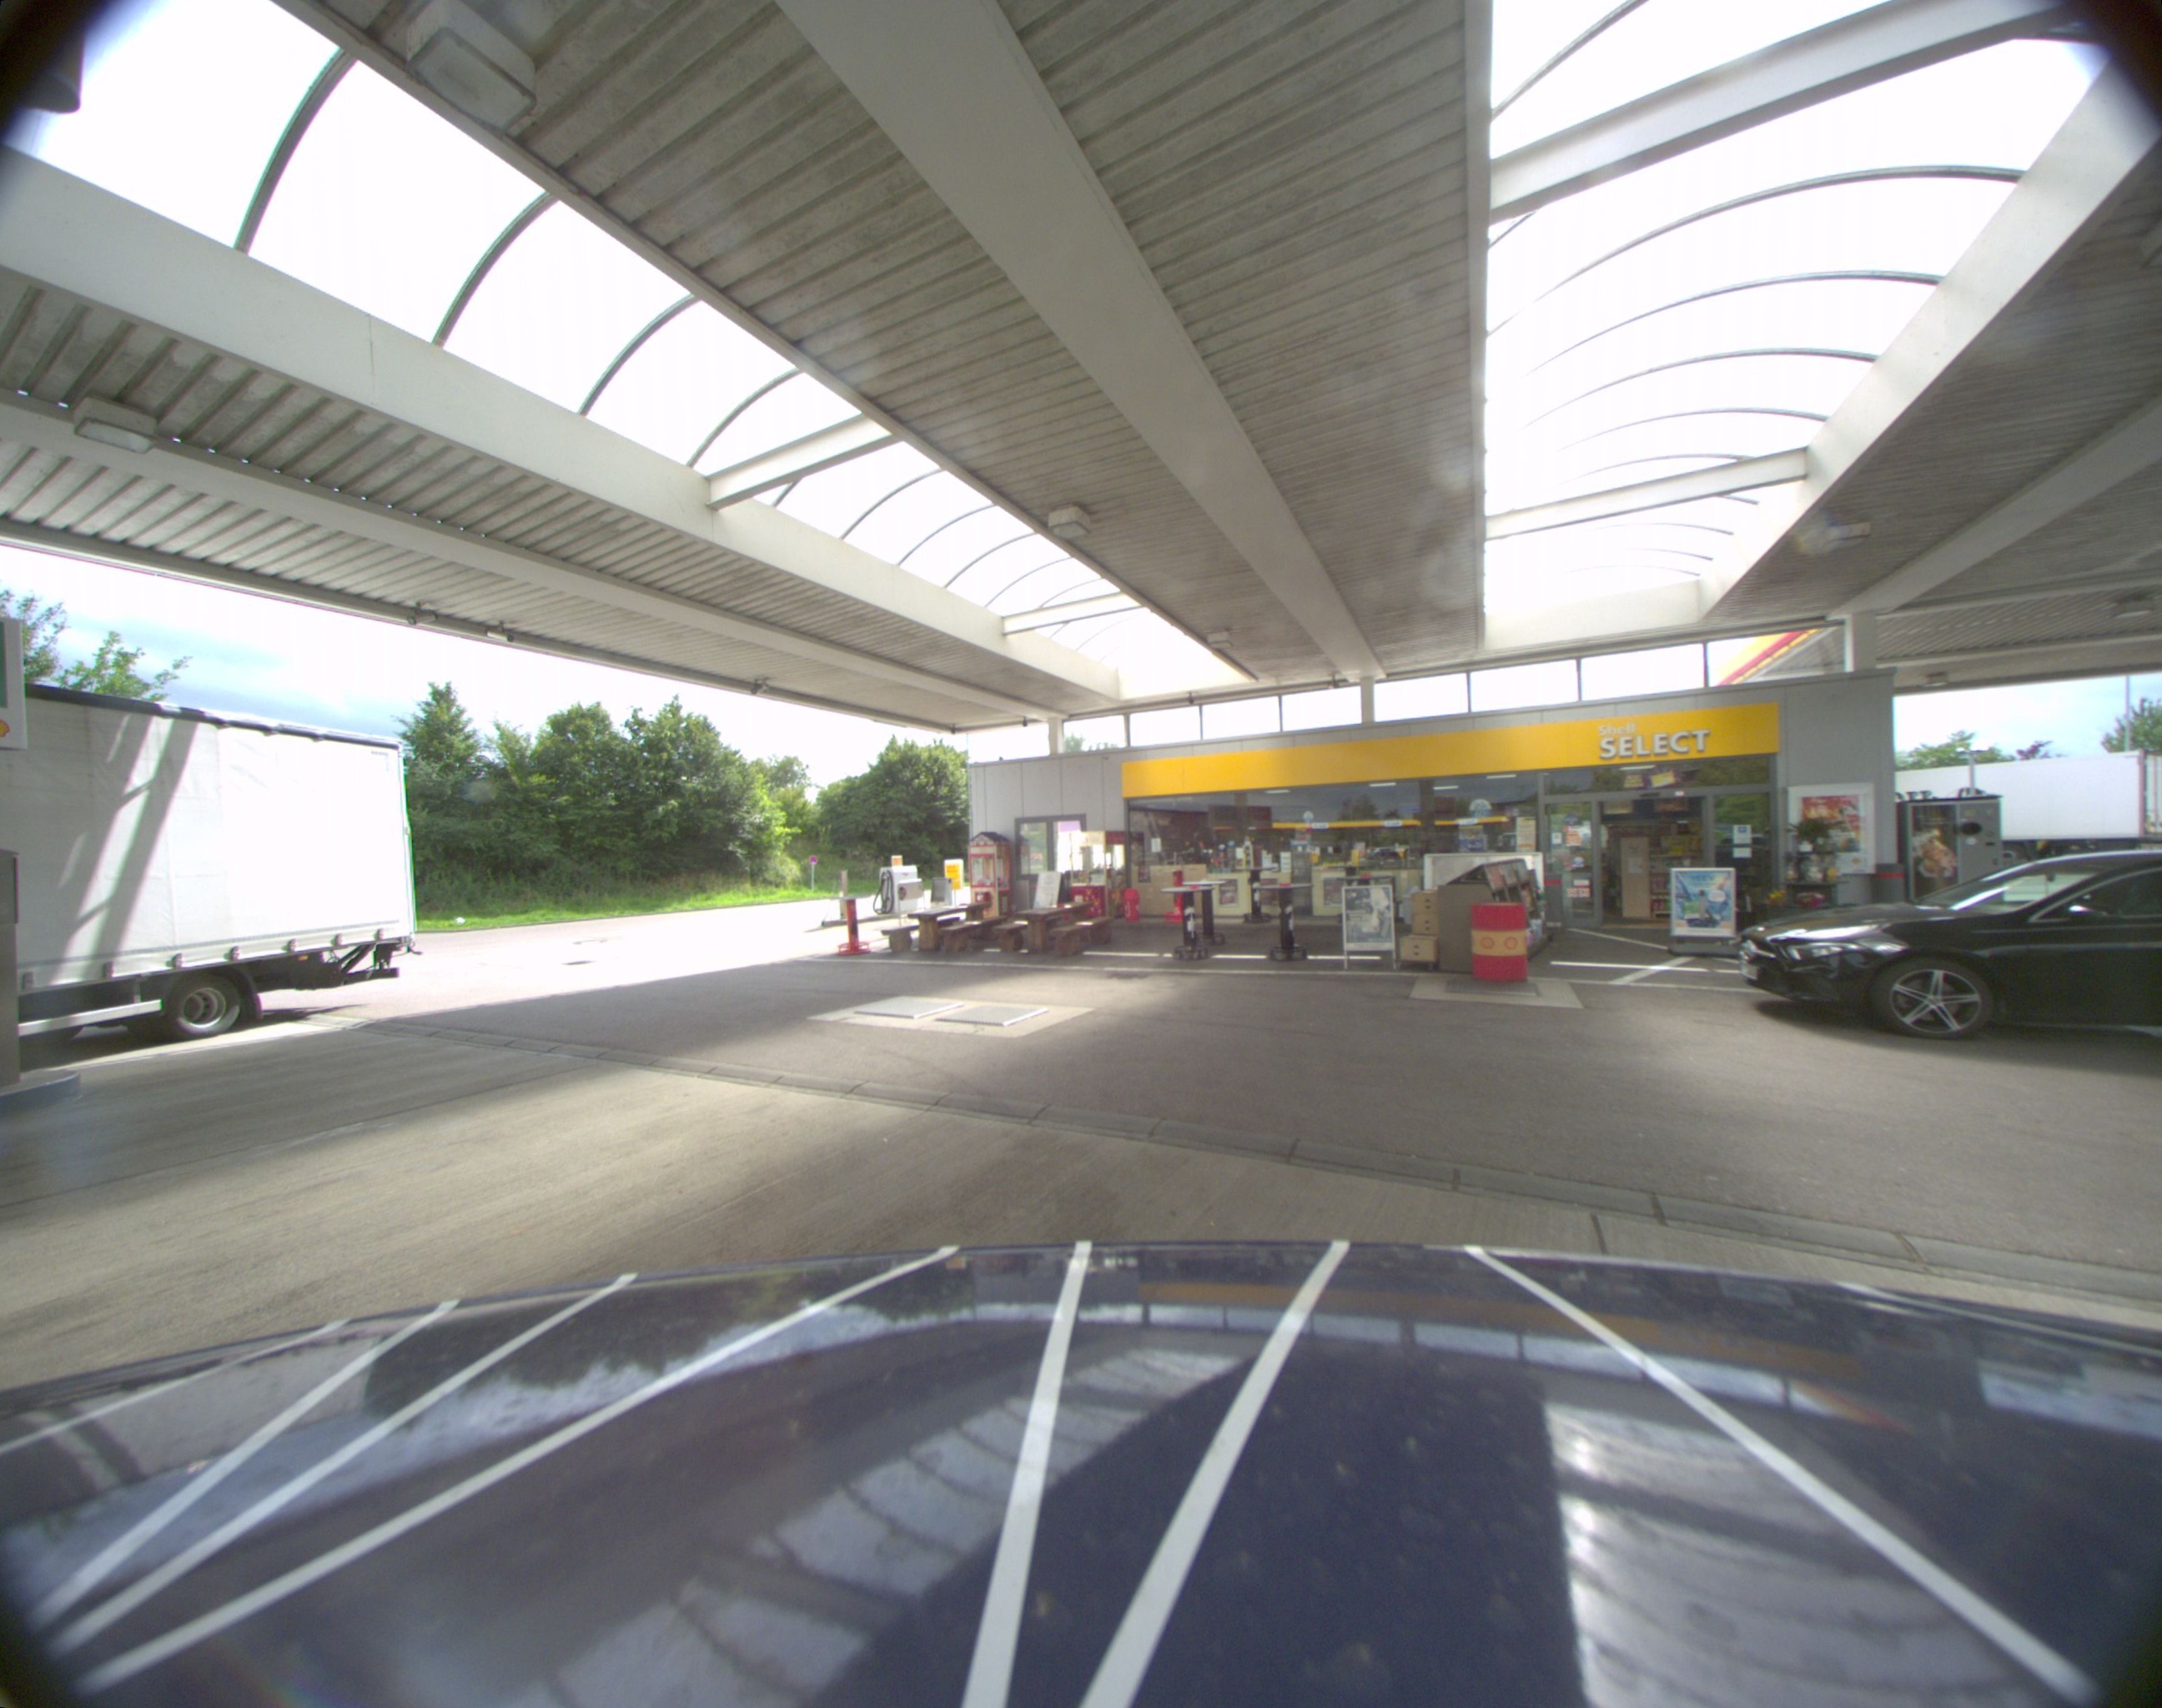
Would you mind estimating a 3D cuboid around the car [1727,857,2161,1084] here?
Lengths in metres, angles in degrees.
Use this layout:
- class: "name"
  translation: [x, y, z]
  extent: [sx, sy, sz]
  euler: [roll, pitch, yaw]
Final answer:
- class: "car"
  translation: [8.135, 0.817, 5.901]
  extent: [4.461, 1.491, 1.782]
  euler: [-2, 1, 28]

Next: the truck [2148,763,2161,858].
- class: "truck"
  translation: [51.479, -2.036, 33.154]
  extent: [3.383, 4.479, 6.239]
  euler: [-2, 1, 29]

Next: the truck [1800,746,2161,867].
- class: "truck"
  translation: [35.131, -1.610, 30.072]
  extent: [2.796, 3.982, 9.578]
  euler: [-3, 1, -16]

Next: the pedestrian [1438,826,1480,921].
- class: "pedestrian"
  translation: [7.803, 0.392, 15.675]
  extent: [0.582, 1.895, 0.508]
  euler: [-3, 1, -32]
